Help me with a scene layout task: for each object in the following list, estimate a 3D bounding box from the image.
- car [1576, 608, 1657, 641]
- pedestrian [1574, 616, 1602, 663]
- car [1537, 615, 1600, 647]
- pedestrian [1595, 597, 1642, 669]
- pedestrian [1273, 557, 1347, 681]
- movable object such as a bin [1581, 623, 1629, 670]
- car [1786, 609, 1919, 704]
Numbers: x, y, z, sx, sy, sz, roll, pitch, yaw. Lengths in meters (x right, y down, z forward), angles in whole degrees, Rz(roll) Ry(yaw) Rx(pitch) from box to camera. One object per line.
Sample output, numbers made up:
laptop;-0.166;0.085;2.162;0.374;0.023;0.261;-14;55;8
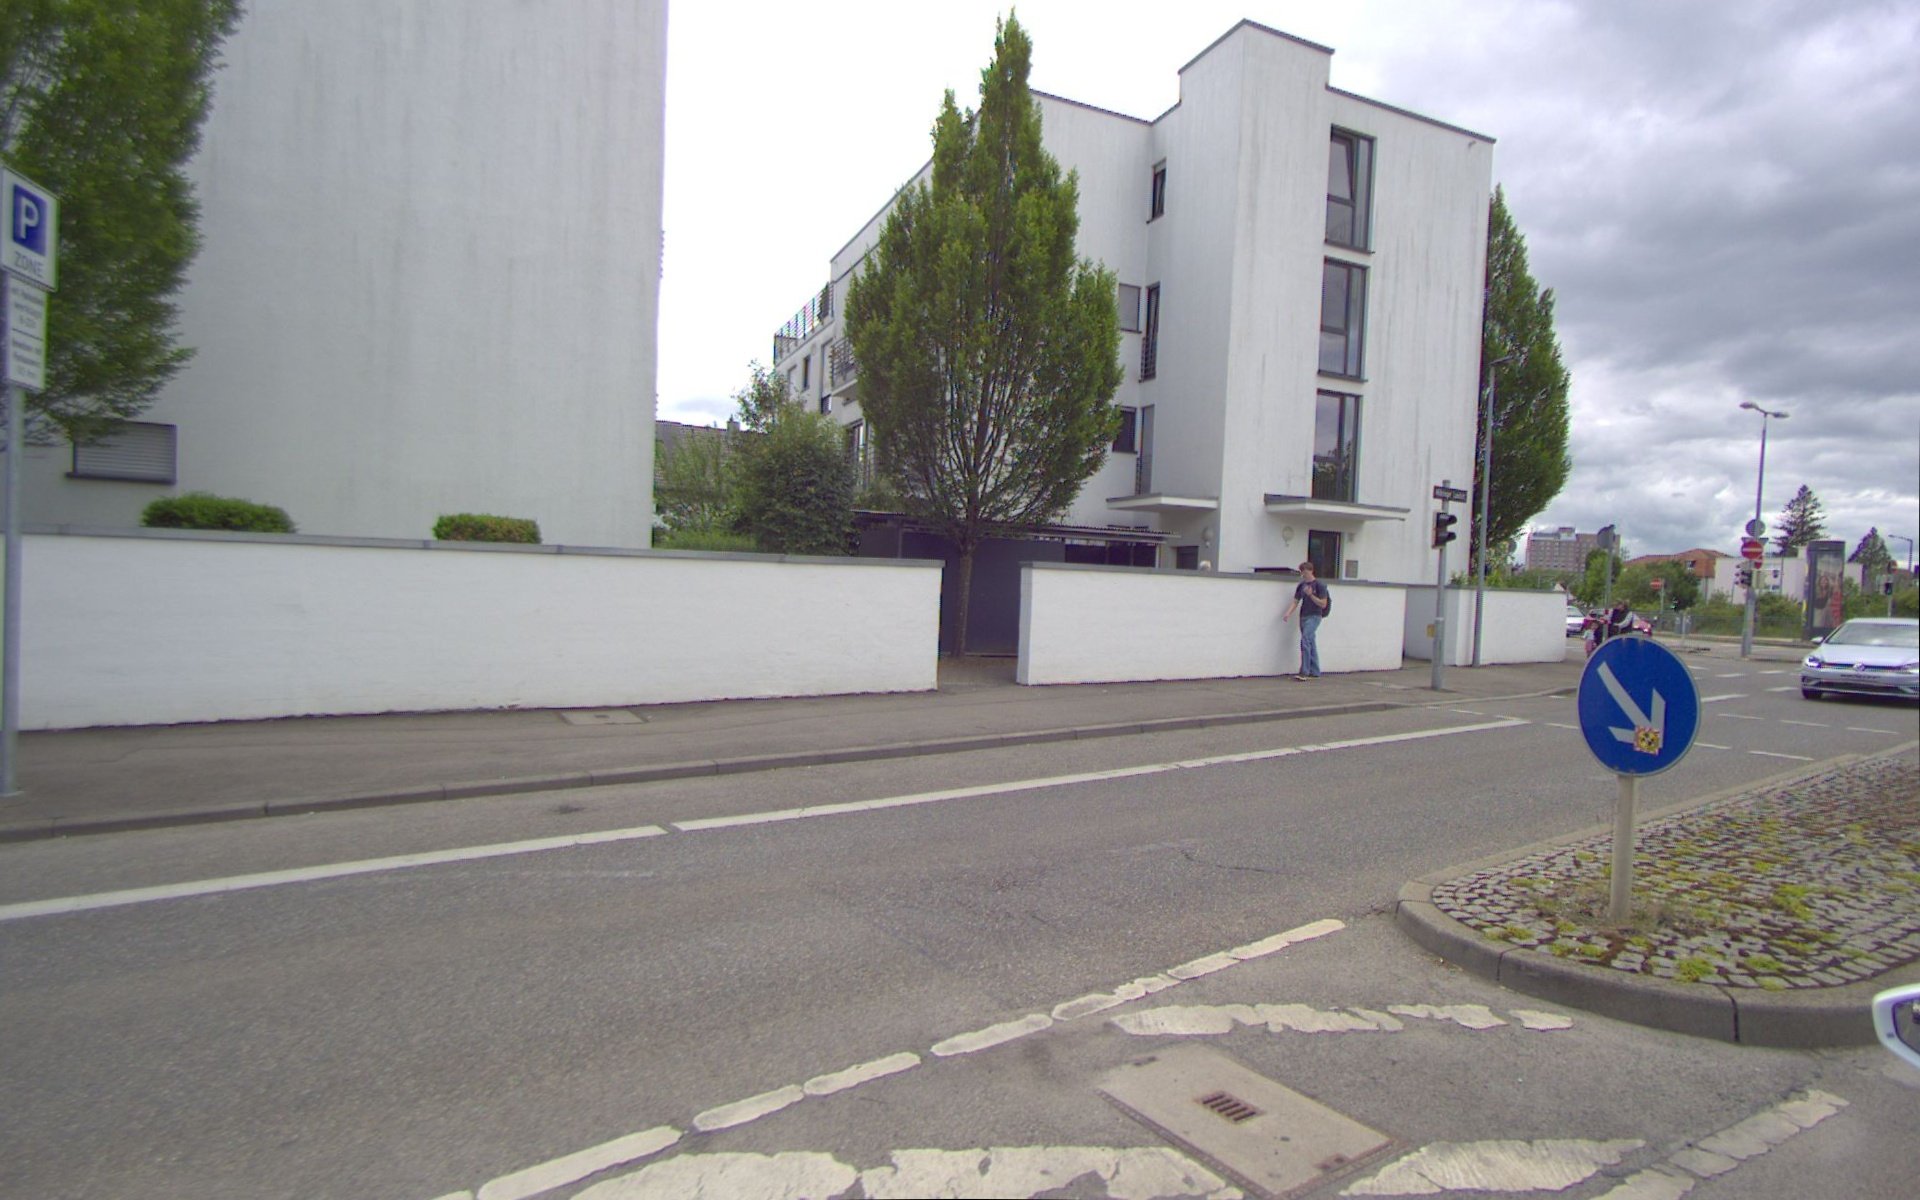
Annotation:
car;30.493;1.115;46.780;1.739;1.466;3.705;1;0;8
pedestrian;14.752;0.930;23.605;0.440;1.076;0.323;1;5;-36
car;31.747;1.597;52.532;1.614;1.555;4.132;1;-1;13
pedestrian;15.023;0.739;22.920;0.725;1.563;0.527;1;6;-37
pedestrian;5.810;0.312;16.686;0.863;1.974;0.644;2;4;-35
movable object such as a bin;14.397;1.024;22.424;0.977;0.973;0.493;1;6;-37
car;16.488;0.959;17.932;3.912;1.463;1.785;2;1;-37
